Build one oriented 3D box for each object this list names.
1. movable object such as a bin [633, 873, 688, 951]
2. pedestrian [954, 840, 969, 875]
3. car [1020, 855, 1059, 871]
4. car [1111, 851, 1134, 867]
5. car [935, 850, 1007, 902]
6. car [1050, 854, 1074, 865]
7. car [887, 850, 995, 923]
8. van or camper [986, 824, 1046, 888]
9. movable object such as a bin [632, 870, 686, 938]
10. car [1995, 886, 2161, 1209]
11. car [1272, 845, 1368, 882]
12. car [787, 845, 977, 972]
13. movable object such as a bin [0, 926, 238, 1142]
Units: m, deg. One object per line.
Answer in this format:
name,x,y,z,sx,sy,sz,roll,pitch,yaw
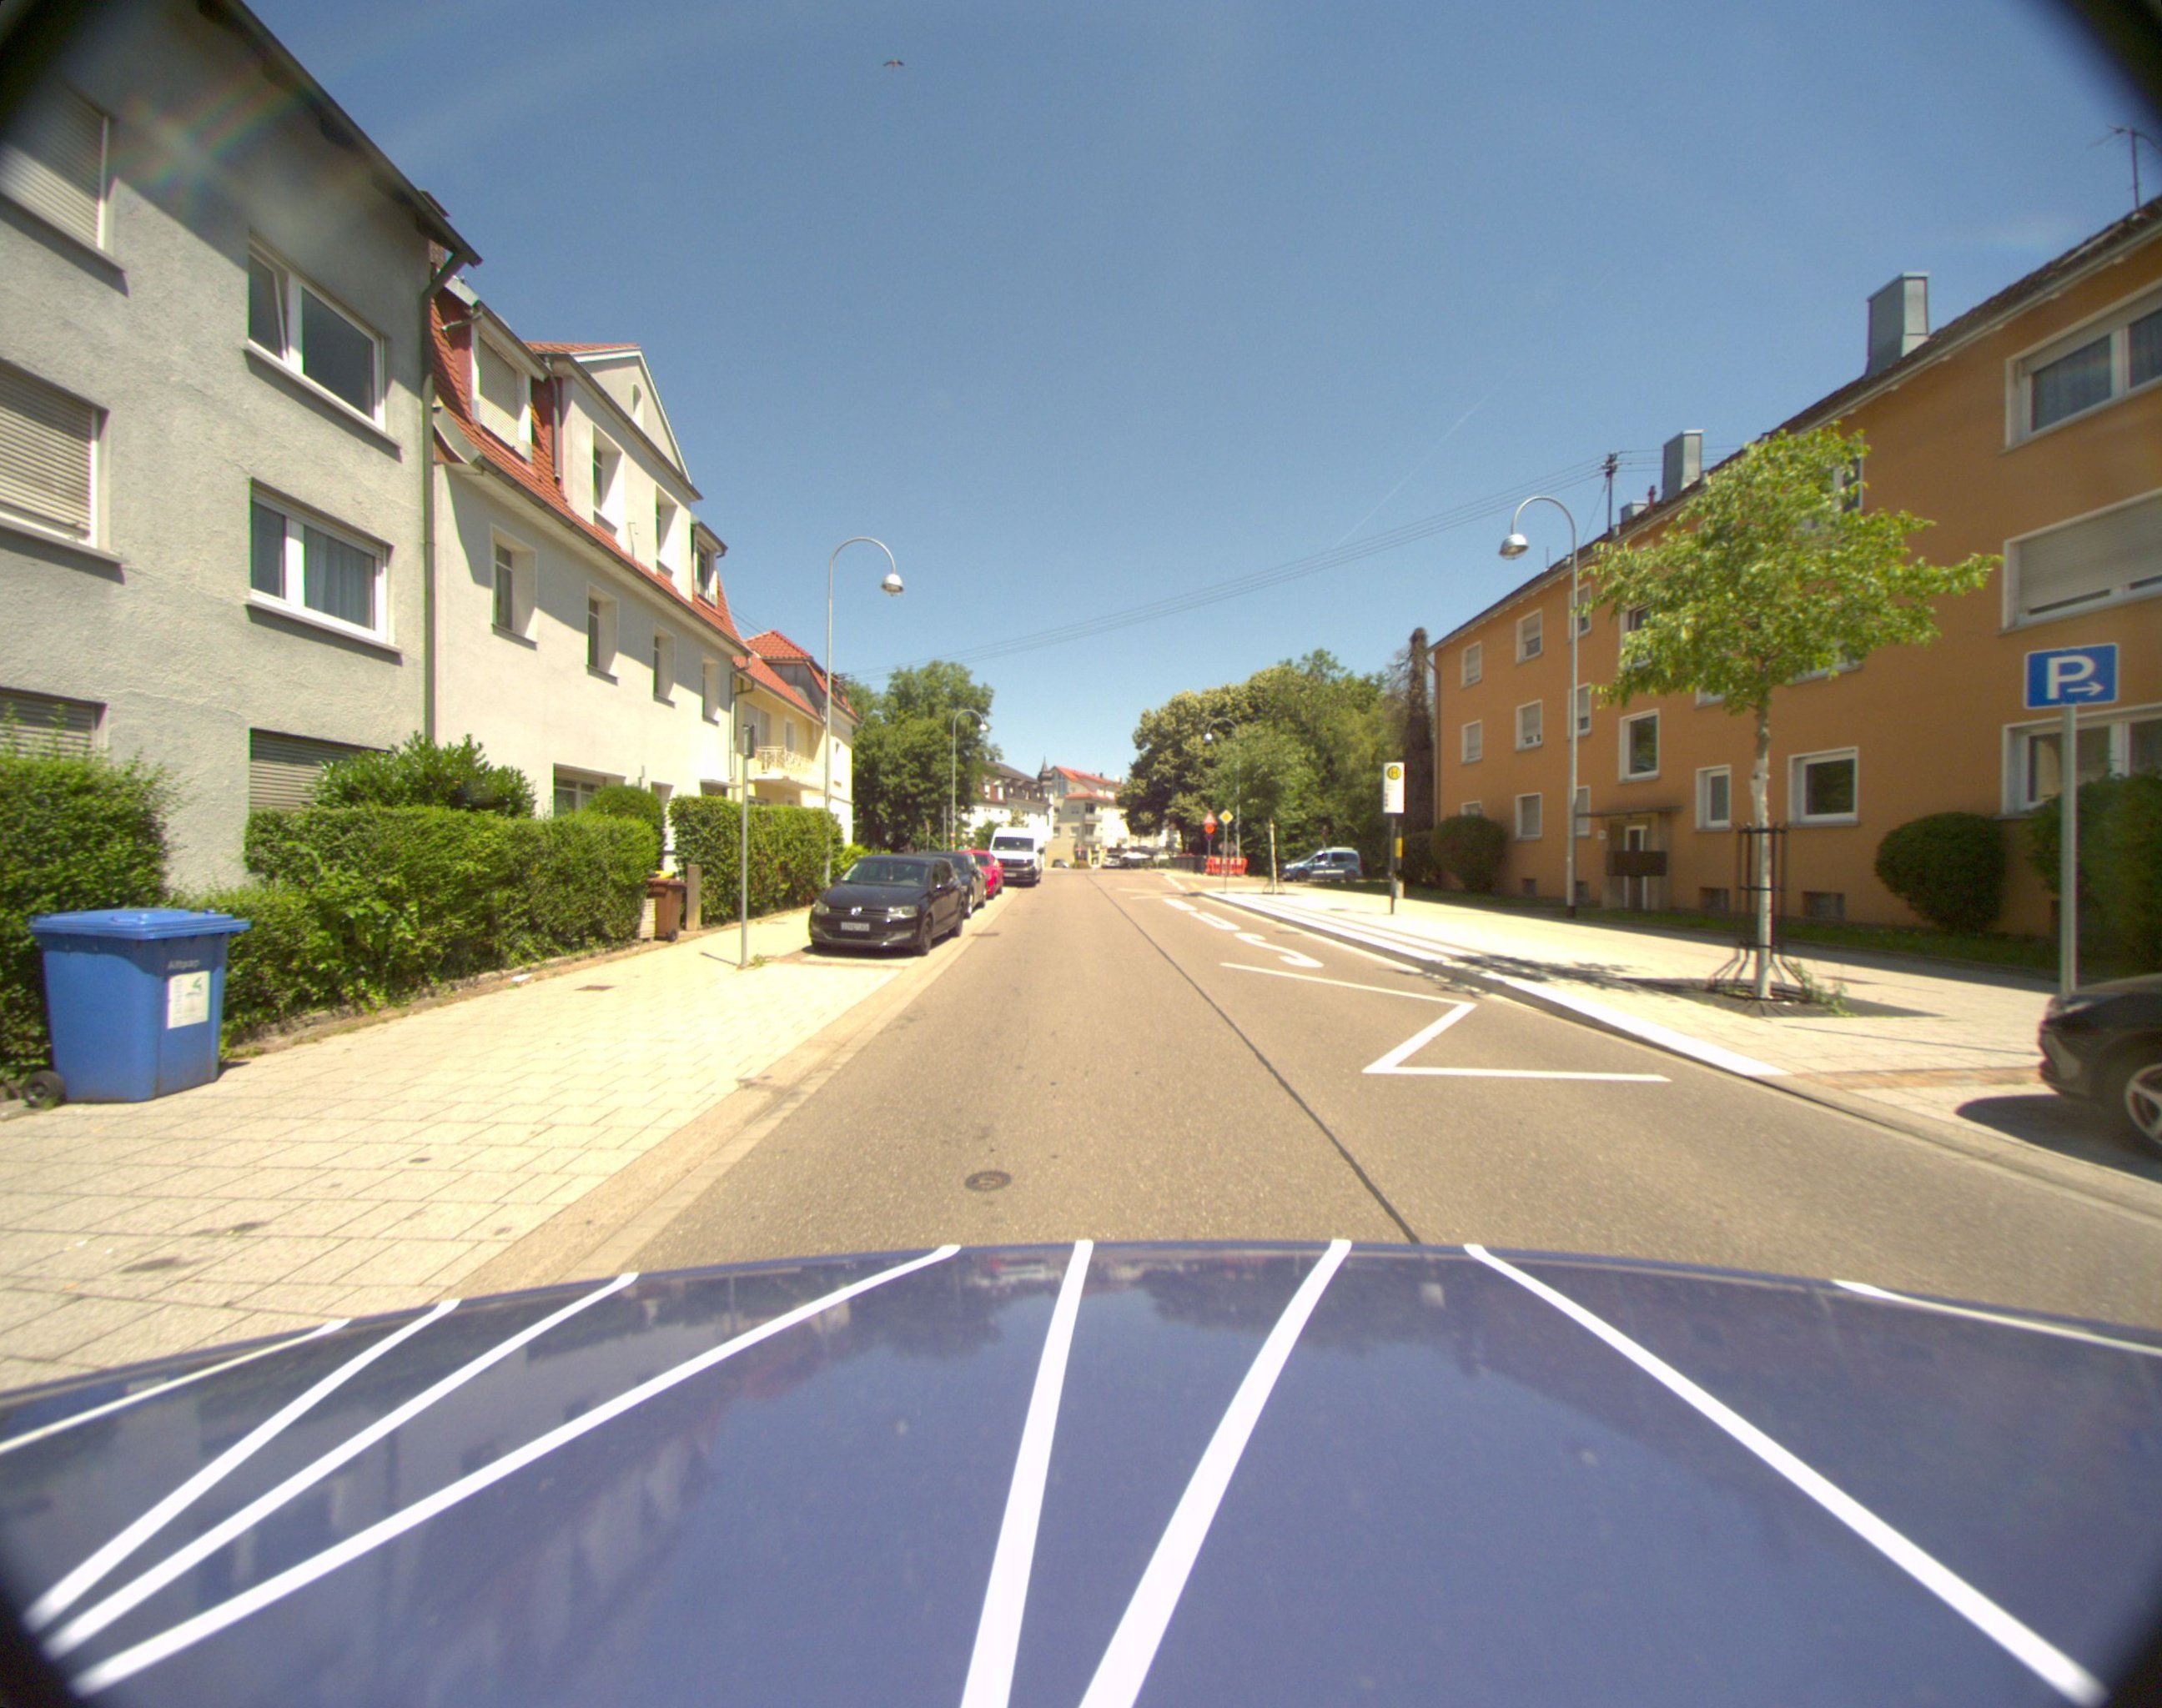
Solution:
movable object such as a bin,-6.182,0.842,11.191,0.488,1.097,0.555,0,1,0
pedestrian,-6.052,0.169,38.430,0.522,1.696,0.802,3,0,-21
car,-4.752,1.093,87.908,3.990,1.660,2.004,-3,-2,27
car,3.849,0.451,70.673,1.998,1.498,4.288,0,0,1
car,-3.444,0.634,24.562,1.808,1.521,4.149,0,0,-1
car,-2.699,0.748,110.431,3.038,1.444,1.570,-2,0,21
car,-3.297,0.696,18.744,1.808,1.466,4.719,3,0,-1
van or camper,-2.715,0.015,33.107,2.114,2.453,6.174,2,1,-1
movable object such as a bin,-6.977,0.817,12.579,0.501,1.078,0.671,0,1,1
car,6.156,0.926,2.024,1.862,1.498,4.561,-2,0,-2
car,12.513,0.489,39.945,4.439,1.863,1.817,1,1,-11
car,-2.954,0.724,12.180,1.732,1.623,4.001,2,0,3
movable object such as a bin,-5.482,0.988,4.344,0.595,1.070,0.647,1,1,-1
